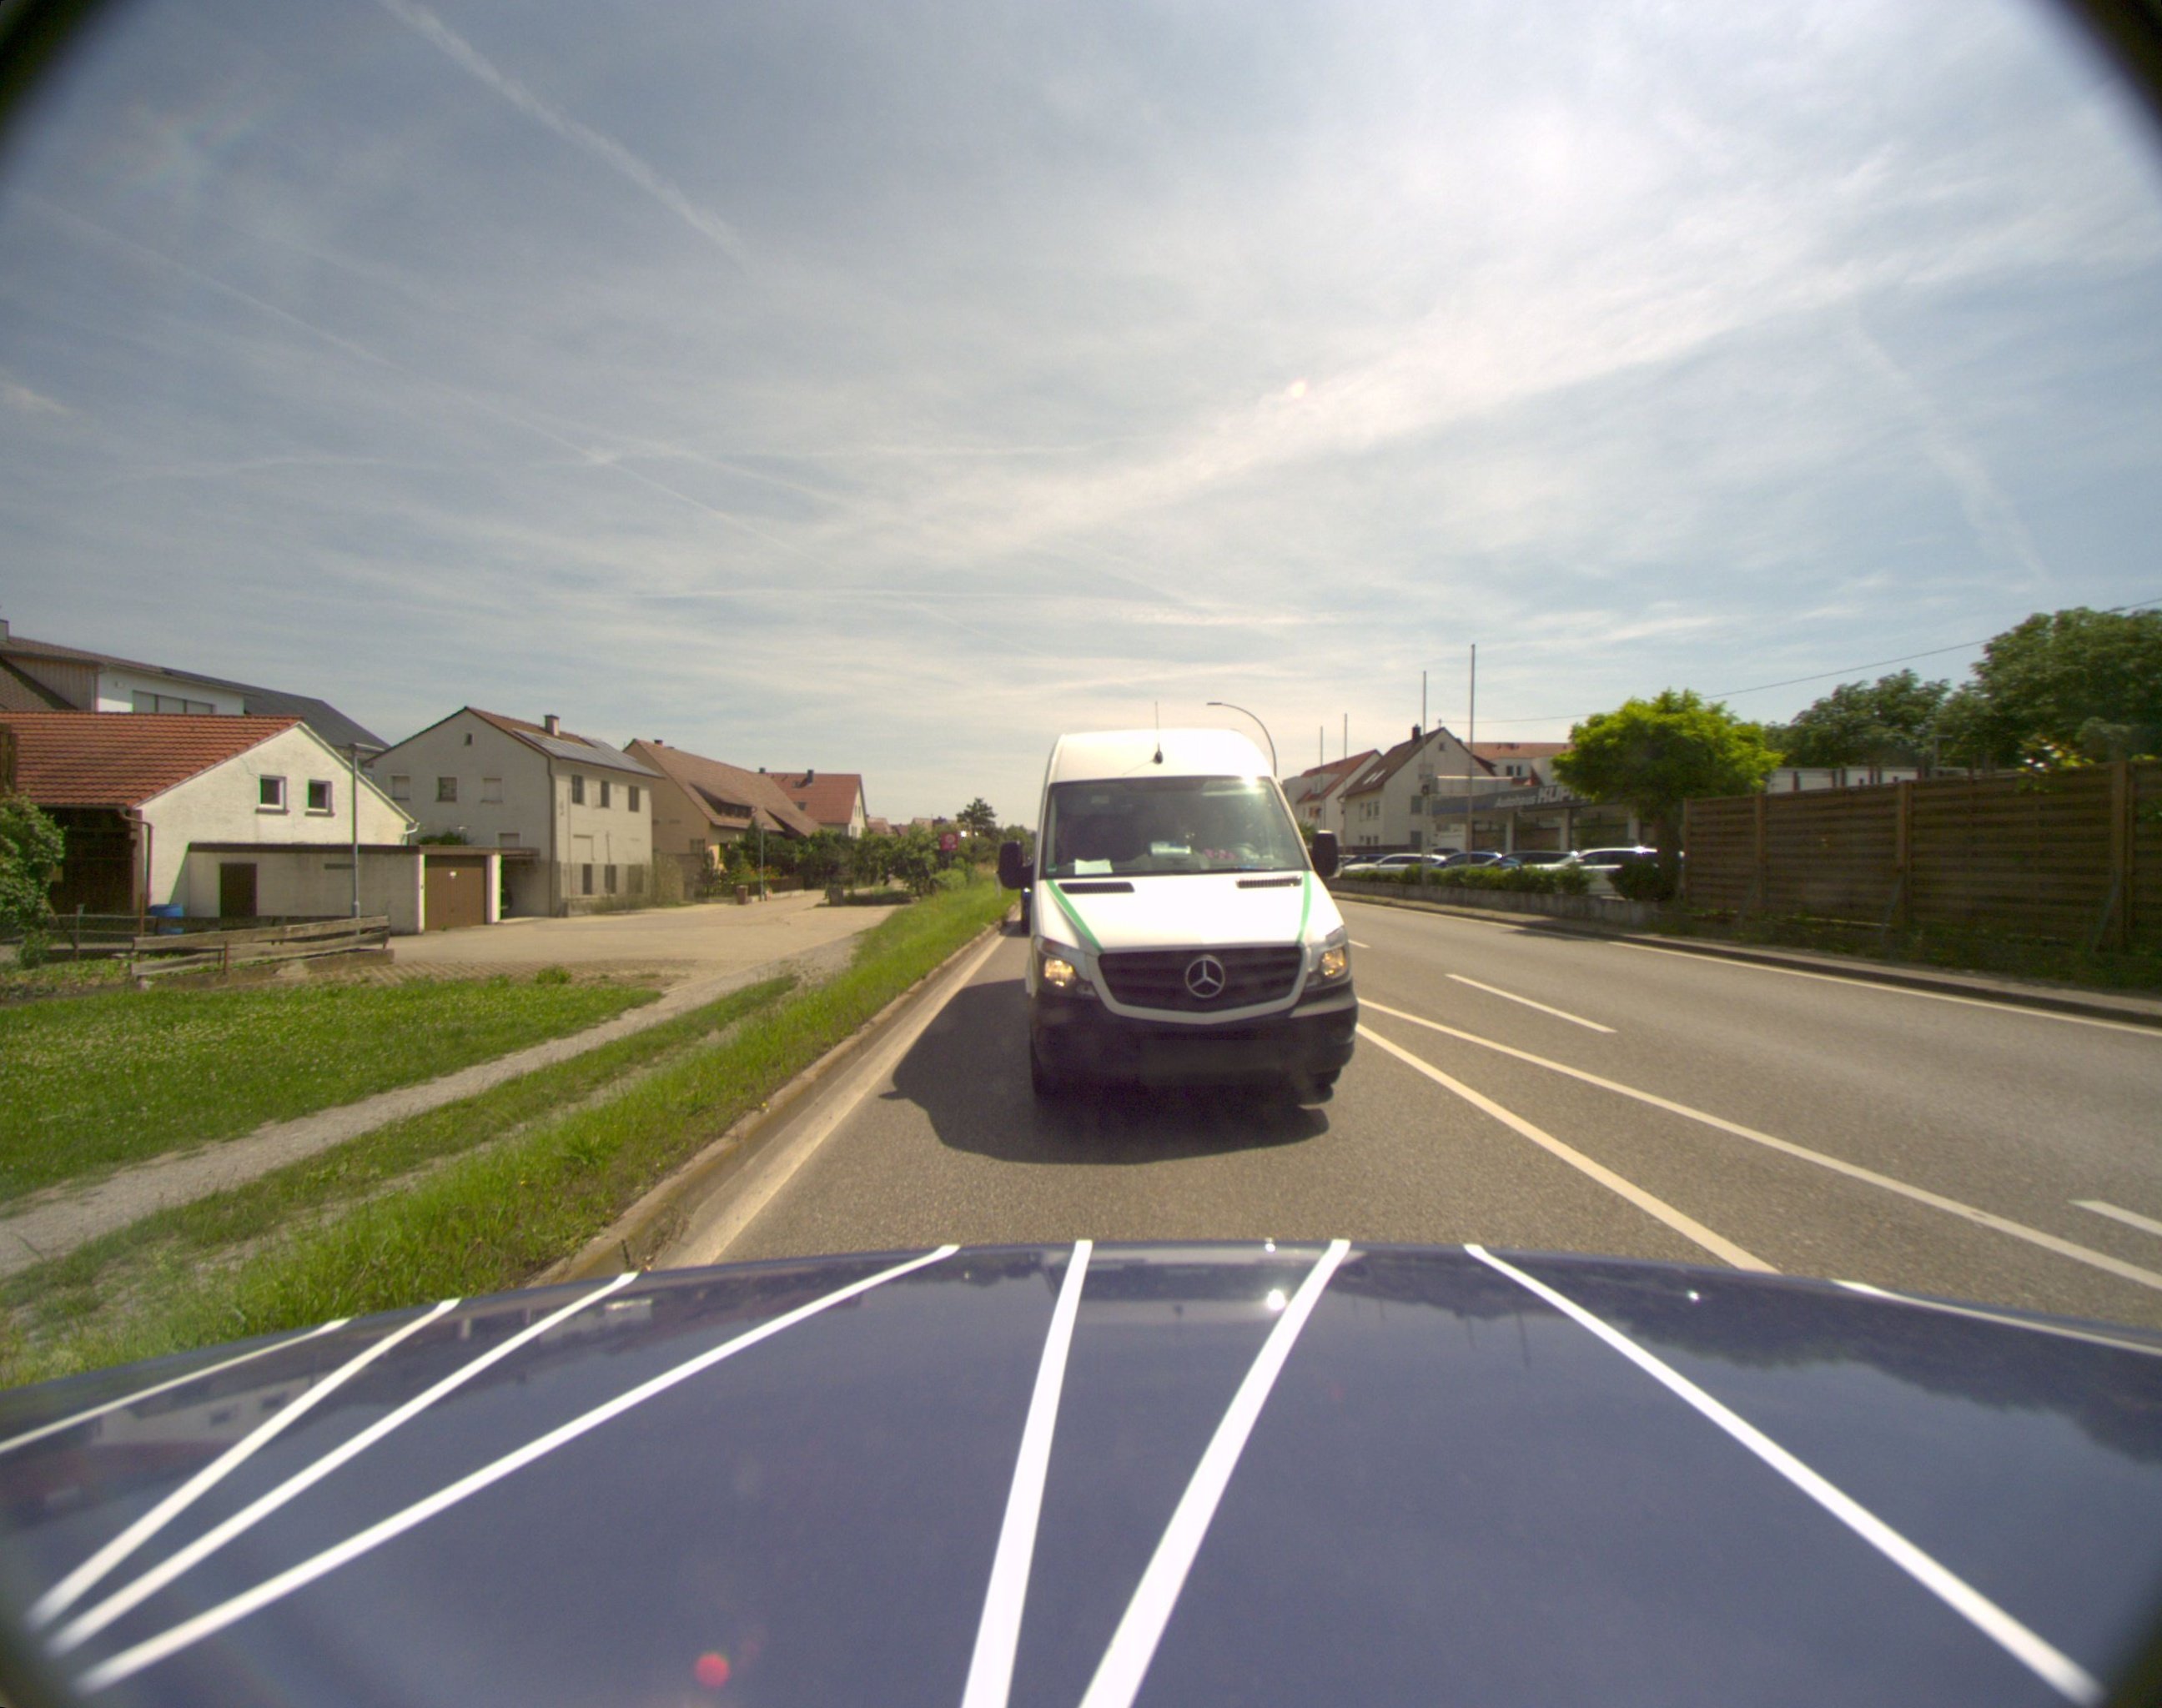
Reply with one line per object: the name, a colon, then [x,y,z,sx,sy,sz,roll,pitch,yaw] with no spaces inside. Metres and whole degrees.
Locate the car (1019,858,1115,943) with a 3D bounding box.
car: [-0.305,0.895,16.366,1.824,1.574,3.901,-1,0,-1]

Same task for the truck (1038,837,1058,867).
truck: [-4.443,-0.226,102.346,2.506,3.847,5.496,-1,0,-2]

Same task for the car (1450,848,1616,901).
car: [14.112,0.639,24.004,4.251,1.536,1.853,-2,0,22]

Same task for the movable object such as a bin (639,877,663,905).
movable object such as a bin: [-21.318,1.840,37.705,0.678,1.330,0.820,-2,0,-1]

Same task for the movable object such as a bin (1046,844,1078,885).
movable object such as a bin: [-1.263,0.704,53.186,1.998,2.710,5.419,-1,0,1]

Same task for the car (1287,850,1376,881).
car: [13.446,0.618,40.789,4.255,1.521,2.003,-2,0,26]

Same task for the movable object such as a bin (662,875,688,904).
movable object such as a bin: [-19.977,1.754,37.414,0.765,1.362,0.946,-2,0,-1]

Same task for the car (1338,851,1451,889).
car: [13.399,0.676,32.528,4.303,1.510,2.003,-2,0,27]

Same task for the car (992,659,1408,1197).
car: [0.543,0.370,6.549,1.978,2.584,5.633,-2,0,-1]

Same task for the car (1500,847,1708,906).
car: [13.831,0.598,20.445,4.329,1.451,1.858,-1,0,24]

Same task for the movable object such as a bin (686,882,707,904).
movable object such as a bin: [-18.970,1.902,37.512,0.645,1.021,0.756,-2,0,-1]

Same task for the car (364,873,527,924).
car: [-21.677,1.494,26.024,3.997,1.594,1.826,-1,0,0]

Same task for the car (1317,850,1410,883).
car: [13.665,0.600,36.739,3.990,1.455,2.003,-2,0,26]

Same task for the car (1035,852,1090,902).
car: [-0.652,0.779,27.289,1.824,1.637,3.901,-1,0,-1]

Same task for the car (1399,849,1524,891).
car: [13.976,0.583,28.124,3.990,1.433,1.857,-2,0,24]

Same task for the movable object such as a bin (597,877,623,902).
movable object such as a bin: [-23.168,1.747,37.410,0.740,1.149,0.830,-2,0,-1]

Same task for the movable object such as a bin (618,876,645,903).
movable object such as a bin: [-22.237,1.749,37.604,0.745,1.239,0.889,-2,0,-1]
